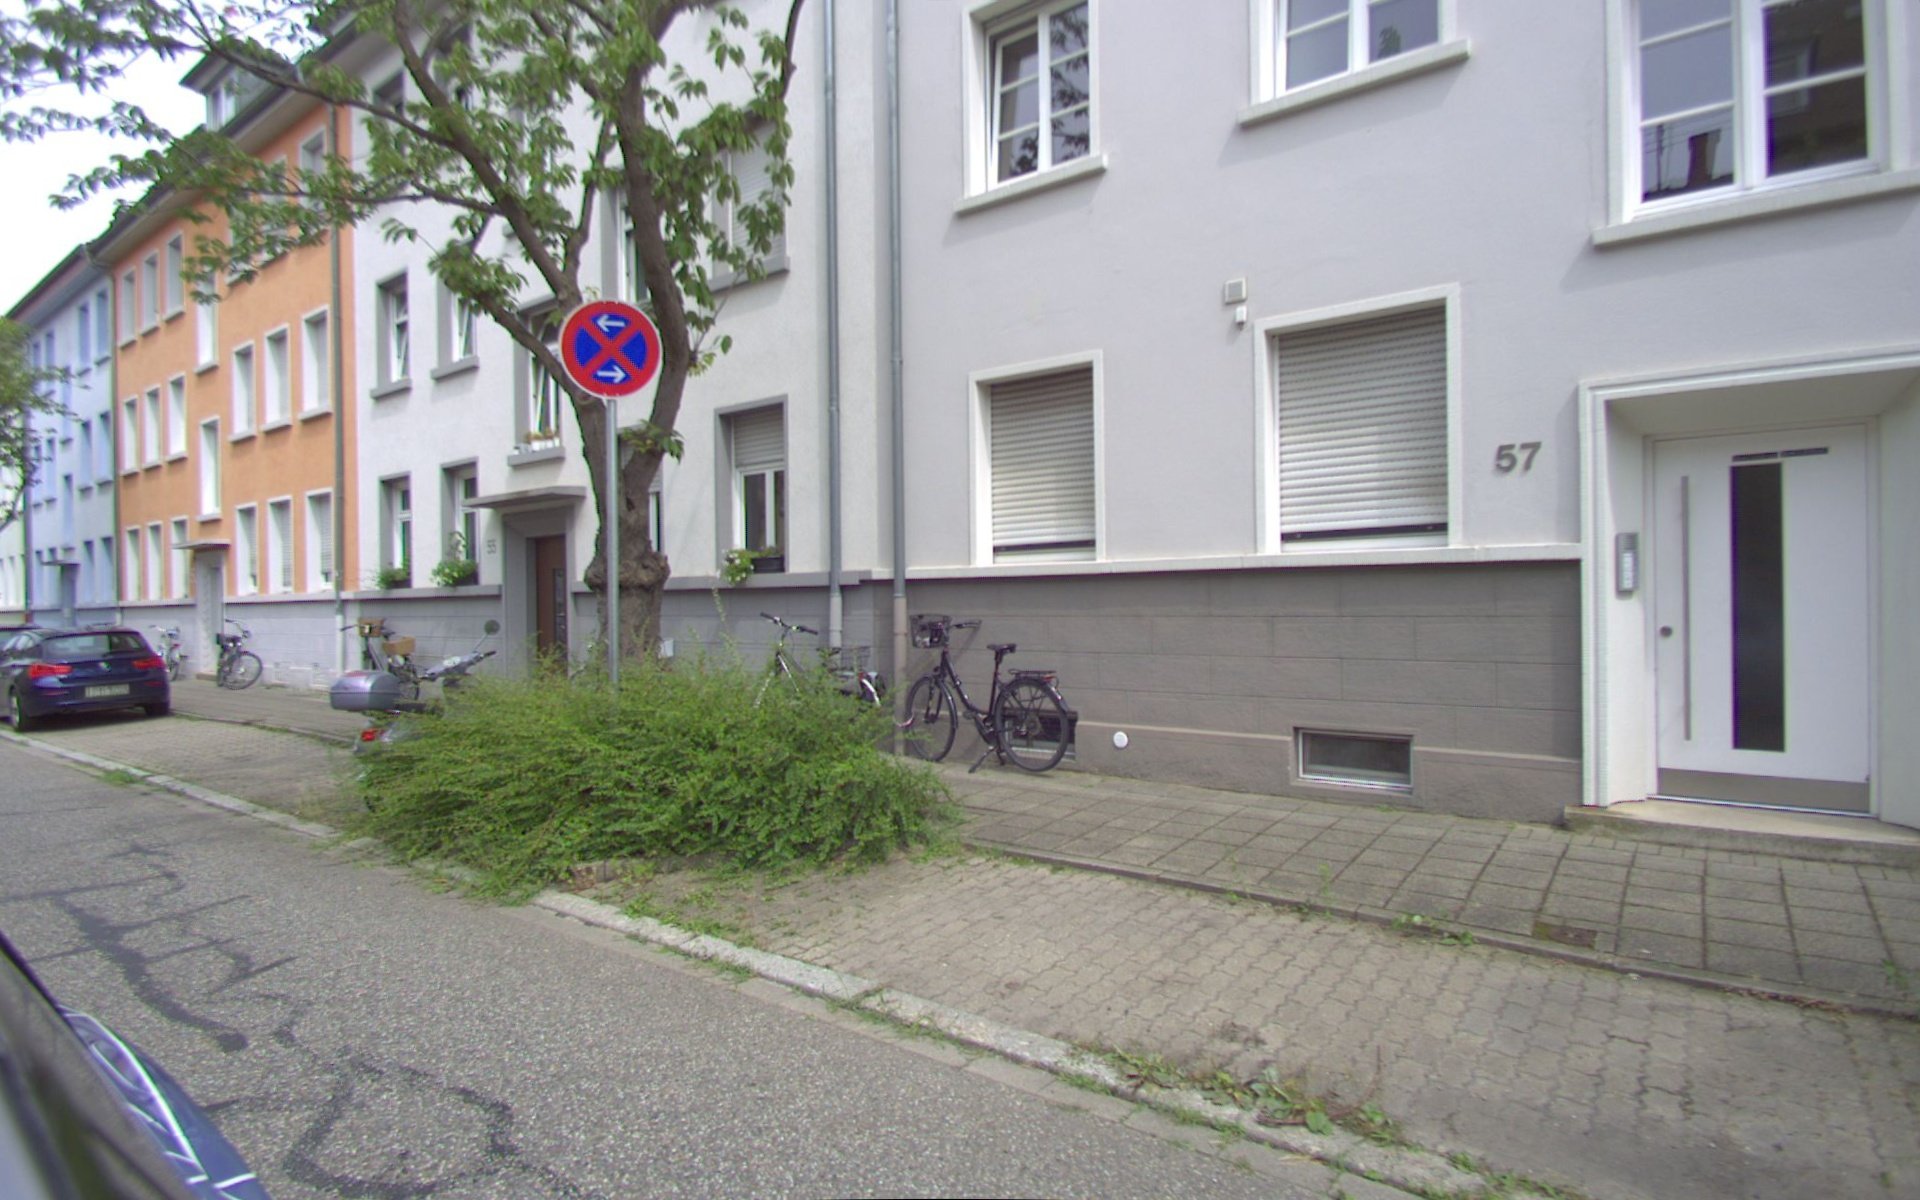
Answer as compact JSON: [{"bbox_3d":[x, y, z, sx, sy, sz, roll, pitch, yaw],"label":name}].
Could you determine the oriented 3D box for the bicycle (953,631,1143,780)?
[{"bbox_3d":[0.634,0.748,7.595,1.432,1.014,0.416,-1,-2,39],"label":"bicycle"}]

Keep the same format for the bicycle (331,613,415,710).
[{"bbox_3d":[-8.572,0.872,14.752,1.809,1.344,0.425,-1,-2,39],"label":"bicycle"}]

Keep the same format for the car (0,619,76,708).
[{"bbox_3d":[-18.382,1.153,18.974,4.085,1.495,1.820,-1,1,36],"label":"car"}]

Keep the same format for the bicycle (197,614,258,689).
[{"bbox_3d":[-13.575,0.930,18.737,1.809,1.344,0.425,-1,-2,39],"label":"bicycle"}]

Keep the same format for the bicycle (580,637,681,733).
[{"bbox_3d":[-3.592,0.893,10.991,1.432,0.974,0.306,-1,-2,39],"label":"bicycle"}]

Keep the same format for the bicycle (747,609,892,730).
[{"bbox_3d":[-1.279,0.593,9.083,1.432,1.014,0.416,-1,-2,39],"label":"bicycle"}]

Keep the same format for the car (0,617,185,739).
[{"bbox_3d":[-13.645,1.073,15.379,4.112,1.495,1.820,-1,2,36],"label":"car"}]

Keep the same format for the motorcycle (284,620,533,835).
[{"bbox_3d":[-4.093,0.876,7.743,0.781,1.418,2.018,0,-2,0],"label":"motorcycle"}]
